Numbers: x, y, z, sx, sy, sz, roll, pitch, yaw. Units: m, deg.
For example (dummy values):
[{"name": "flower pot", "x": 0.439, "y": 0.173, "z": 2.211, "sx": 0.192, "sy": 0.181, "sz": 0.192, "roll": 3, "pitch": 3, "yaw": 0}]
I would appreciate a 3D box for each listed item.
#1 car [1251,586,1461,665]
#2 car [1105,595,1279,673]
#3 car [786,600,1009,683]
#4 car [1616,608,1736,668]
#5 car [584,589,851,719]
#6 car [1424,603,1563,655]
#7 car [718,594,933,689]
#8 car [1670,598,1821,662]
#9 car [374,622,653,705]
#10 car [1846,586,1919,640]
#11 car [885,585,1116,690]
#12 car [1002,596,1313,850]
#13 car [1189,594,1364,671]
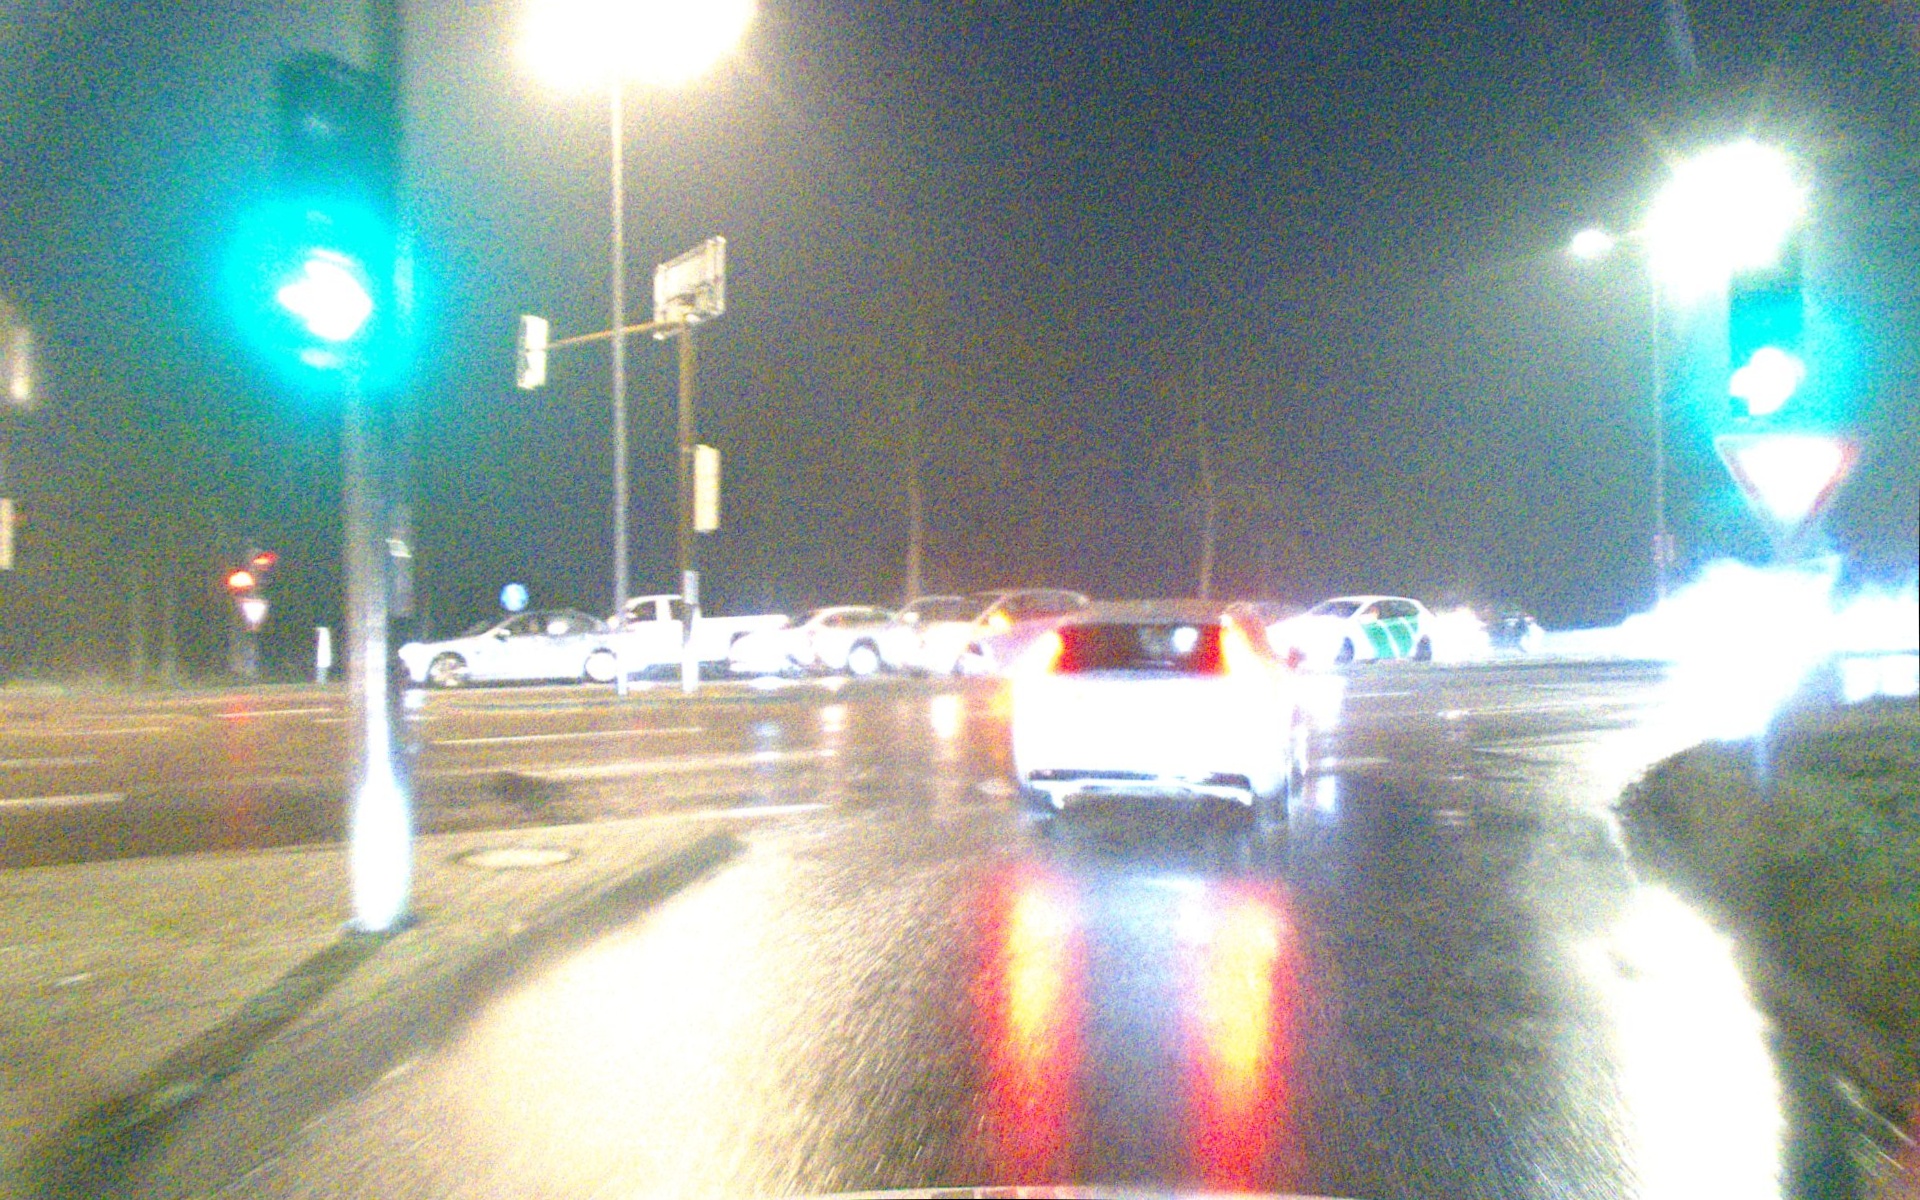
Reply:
[{"name": "car", "x": 8.220, "y": 0.478, "z": 34.213, "sx": 4.359, "sy": 1.510, "sz": 1.762, "roll": 0, "pitch": 1, "yaw": -34}, {"name": "car", "x": 5.781, "y": 0.860, "z": 41.046, "sx": 4.201, "sy": 1.831, "sz": 1.782, "roll": 2, "pitch": -2, "yaw": -35}, {"name": "car", "x": -1.177, "y": 0.818, "z": 31.959, "sx": 4.003, "sy": 1.513, "sz": 1.700, "roll": 2, "pitch": -2, "yaw": -31}, {"name": "car", "x": 23.563, "y": 1.259, "z": 54.392, "sx": 3.953, "sy": 1.881, "sz": 1.807, "roll": 2, "pitch": -2, "yaw": -35}, {"name": "car", "x": -5.435, "y": 1.221, "z": 37.342, "sx": 5.529, "sy": 2.757, "sz": 2.234, "roll": 2, "pitch": -2, "yaw": -29}, {"name": "car", "x": 15.217, "y": 0.802, "z": 47.091, "sx": 3.993, "sy": 1.401, "sz": 1.744, "roll": 0, "pitch": 0, "yaw": -35}, {"name": "car", "x": -2.796, "y": 0.890, "z": 34.787, "sx": 4.234, "sy": 1.881, "sz": 1.744, "roll": 2, "pitch": -2, "yaw": -35}, {"name": "car", "x": 20.926, "y": 0.785, "z": 44.024, "sx": 4.257, "sy": 1.605, "sz": 1.795, "roll": 0, "pitch": -2, "yaw": -36}, {"name": "car", "x": -8.318, "y": 1.176, "z": 30.997, "sx": 4.745, "sy": 1.452, "sz": 1.744, "roll": 2, "pitch": -2, "yaw": -34}, {"name": "car", "x": 31.671, "y": 0.478, "z": 55.353, "sx": 4.436, "sy": 1.695, "sz": 1.782, "roll": 3, "pitch": -1, "yaw": -36}, {"name": "car", "x": 0.742, "y": 0.624, "z": 29.513, "sx": 3.853, "sy": 1.755, "sz": 1.745, "roll": 0, "pitch": 0, "yaw": -33}, {"name": "car", "x": 1.621, "y": 0.731, "z": 12.095, "sx": 1.758, "sy": 1.477, "sz": 4.272, "roll": 1, "pitch": 0, "yaw": 13}, {"name": "car", "x": 7.354, "y": 0.766, "z": 38.305, "sx": 3.930, "sy": 1.695, "sz": 1.782, "roll": 2, "pitch": -2, "yaw": -35}]
